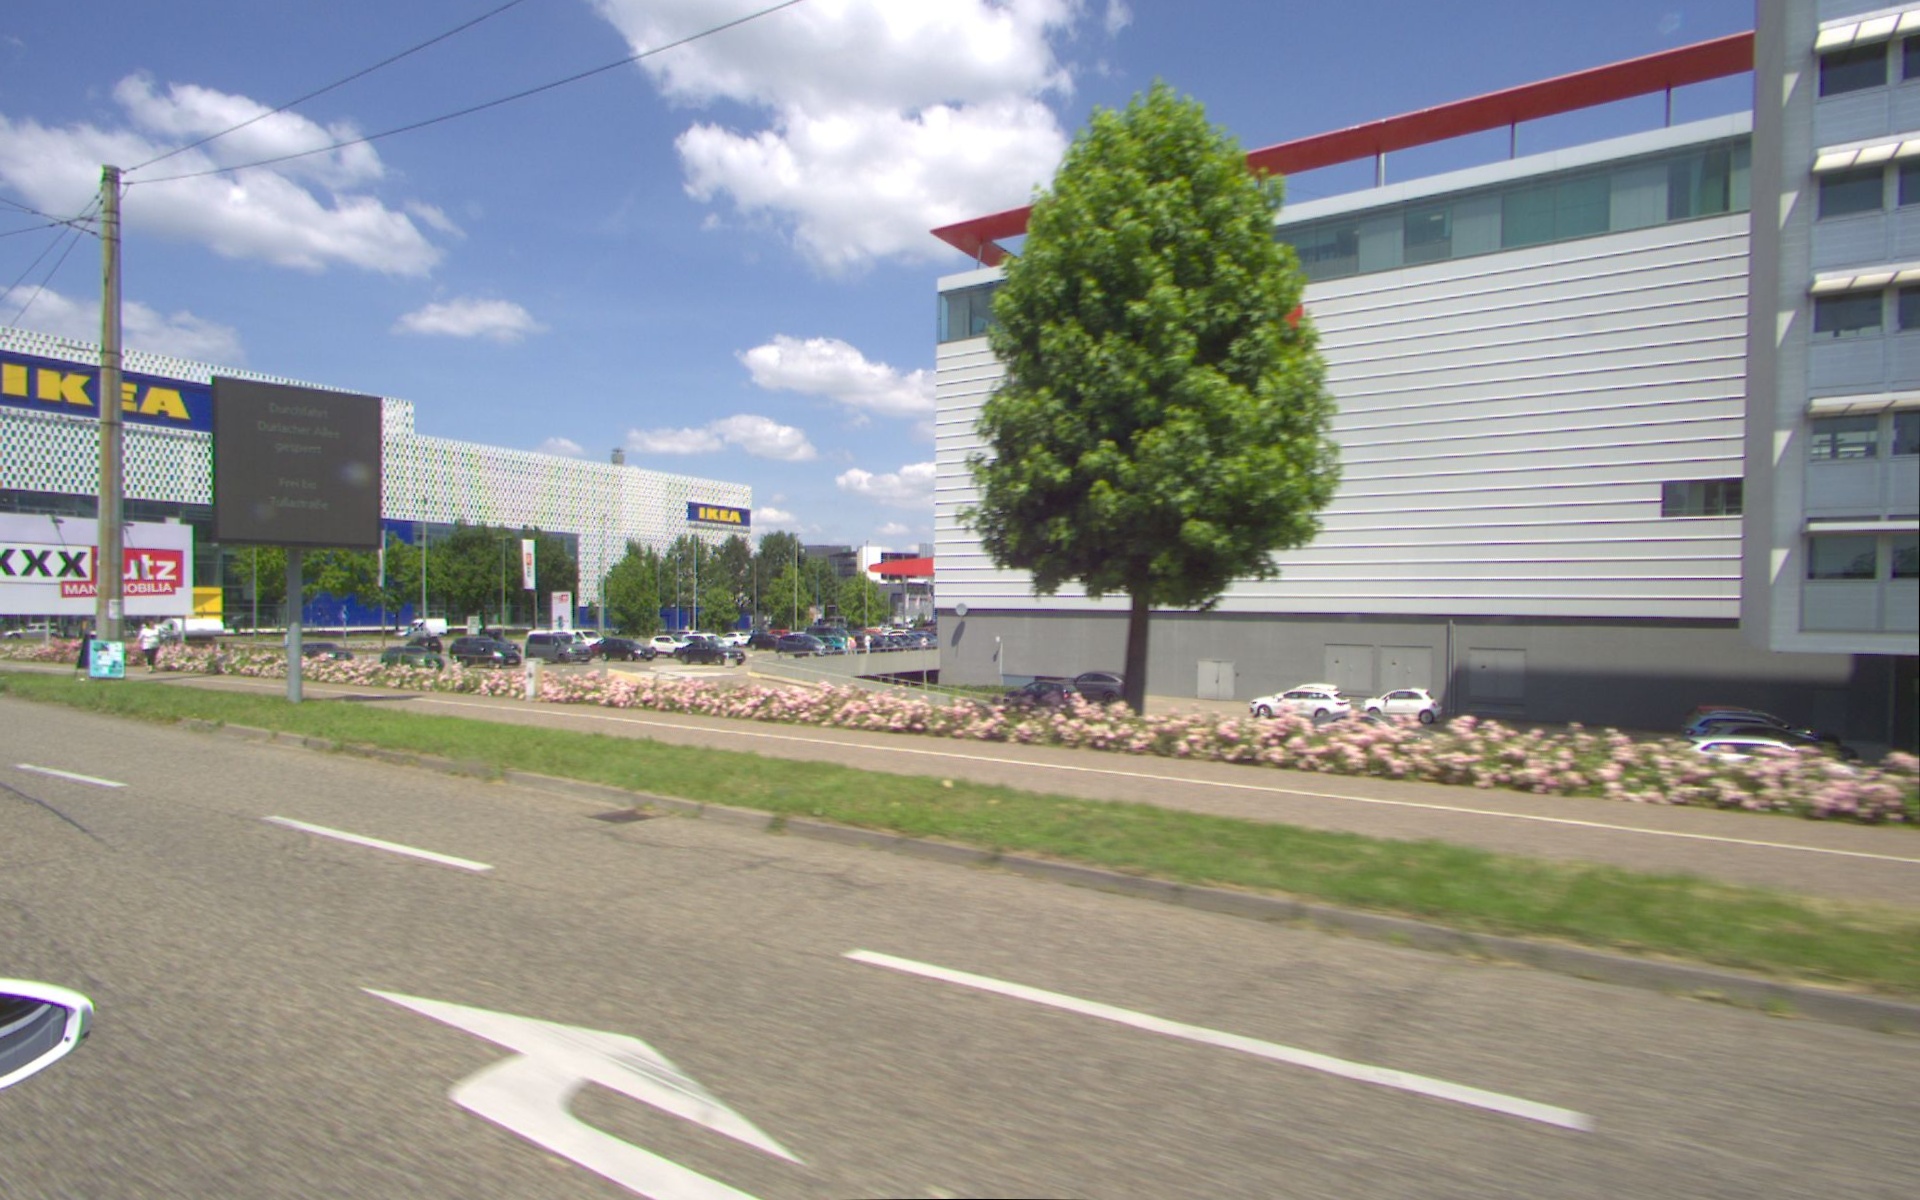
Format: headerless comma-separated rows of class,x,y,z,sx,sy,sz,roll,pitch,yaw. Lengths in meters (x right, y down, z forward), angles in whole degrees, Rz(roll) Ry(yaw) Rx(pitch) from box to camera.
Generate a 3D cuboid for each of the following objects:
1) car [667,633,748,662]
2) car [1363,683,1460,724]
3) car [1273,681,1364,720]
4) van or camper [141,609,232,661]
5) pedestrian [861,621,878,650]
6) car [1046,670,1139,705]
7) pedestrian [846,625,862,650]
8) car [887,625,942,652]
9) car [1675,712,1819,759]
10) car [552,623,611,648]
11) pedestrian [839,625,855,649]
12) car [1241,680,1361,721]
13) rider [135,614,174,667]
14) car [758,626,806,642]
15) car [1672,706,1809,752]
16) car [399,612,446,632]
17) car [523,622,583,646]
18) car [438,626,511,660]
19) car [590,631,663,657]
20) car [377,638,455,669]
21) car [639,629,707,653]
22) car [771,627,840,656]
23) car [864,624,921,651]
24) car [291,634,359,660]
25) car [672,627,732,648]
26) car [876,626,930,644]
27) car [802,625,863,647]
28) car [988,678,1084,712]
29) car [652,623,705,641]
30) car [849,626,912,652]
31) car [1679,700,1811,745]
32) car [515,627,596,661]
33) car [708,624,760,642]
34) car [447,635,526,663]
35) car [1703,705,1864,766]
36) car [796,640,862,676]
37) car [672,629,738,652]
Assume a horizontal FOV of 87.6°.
car,-15.589,2.896,61.783,4.928,1.631,1.991,0,-2,32
car,21.146,4.809,46.918,3.942,1.632,1.991,0,-2,32
car,17.709,4.934,49.461,3.942,1.632,1.991,0,-2,32
van or camper,-47.521,2.109,61.463,7.127,3.058,2.500,0,-2,36
pedestrian,-5.869,2.307,64.926,0.725,1.893,0.740,0,-1,30
car,7.042,4.627,53.249,4.523,1.632,1.991,0,-2,32
pedestrian,-6.913,2.460,65.539,0.725,1.577,0.740,0,-1,30
car,-3.577,3.017,79.369,3.942,2.039,1.991,0,-2,32
car,28.411,4.875,36.315,3.942,1.338,1.602,0,-2,32
car,-31.333,2.935,82.907,4.928,2.032,1.991,0,-2,32
pedestrian,-7.267,2.387,64.610,0.725,1.577,0.740,0,-1,30
car,16.033,4.687,47.148,5.072,1.632,1.991,0,-2,32
rider,-23.112,1.158,28.729,0.609,1.476,0.668,0,-1,31
car,-18.457,3.501,103.804,4.928,1.631,1.991,0,-2,32
car,29.559,4.857,38.086,3.942,1.403,1.641,0,-2,32
car,-66.118,2.762,123.301,1.975,2.338,4.744,0,-2,37
car,-32.843,2.749,80.783,4.928,1.876,1.991,0,-2,32
car,-31.588,2.773,65.073,4.928,2.040,1.989,0,0,32
car,-22.724,3.000,68.190,4.928,1.631,1.991,0,-2,32
car,-30.355,2.958,55.842,4.241,1.517,1.989,0,1,32
car,-20.868,3.000,72.716,4.928,1.631,1.991,0,-2,32
car,-10.473,2.815,67.810,4.270,1.803,1.991,0,-3,32
car,-5.214,2.894,77.313,3.942,2.039,1.991,0,-2,32
car,-41.926,3.090,66.070,4.700,1.557,1.990,0,0,32
car,-21.167,3.085,82.104,4.928,1.631,1.991,0,-2,32
car,-5.451,3.309,95.227,4.928,1.631,1.991,0,-2,32
car,-11.120,3.119,86.986,5.105,1.888,1.992,0,-2,30
car,3.758,4.651,49.617,4.287,1.416,1.992,0,-2,30
car,-27.398,3.082,97.515,4.921,1.631,1.994,0,-2,27
car,-5.938,2.882,74.660,4.270,1.803,1.991,0,-3,32
car,31.465,4.885,40.286,3.942,1.465,1.991,0,-2,32
car,-25.970,2.772,64.170,5.455,2.039,1.991,0,-2,32
car,-21.977,3.233,97.304,4.928,1.631,1.991,0,-2,32
car,-28.403,2.907,60.027,4.928,1.570,1.991,0,-2,32
car,27.833,4.545,34.032,3.942,1.632,1.991,0,-2,32
car,-9.152,4.032,70.111,4.270,2.357,1.991,0,-2,32
car,-19.094,3.014,74.897,4.928,1.671,1.991,0,-2,32
